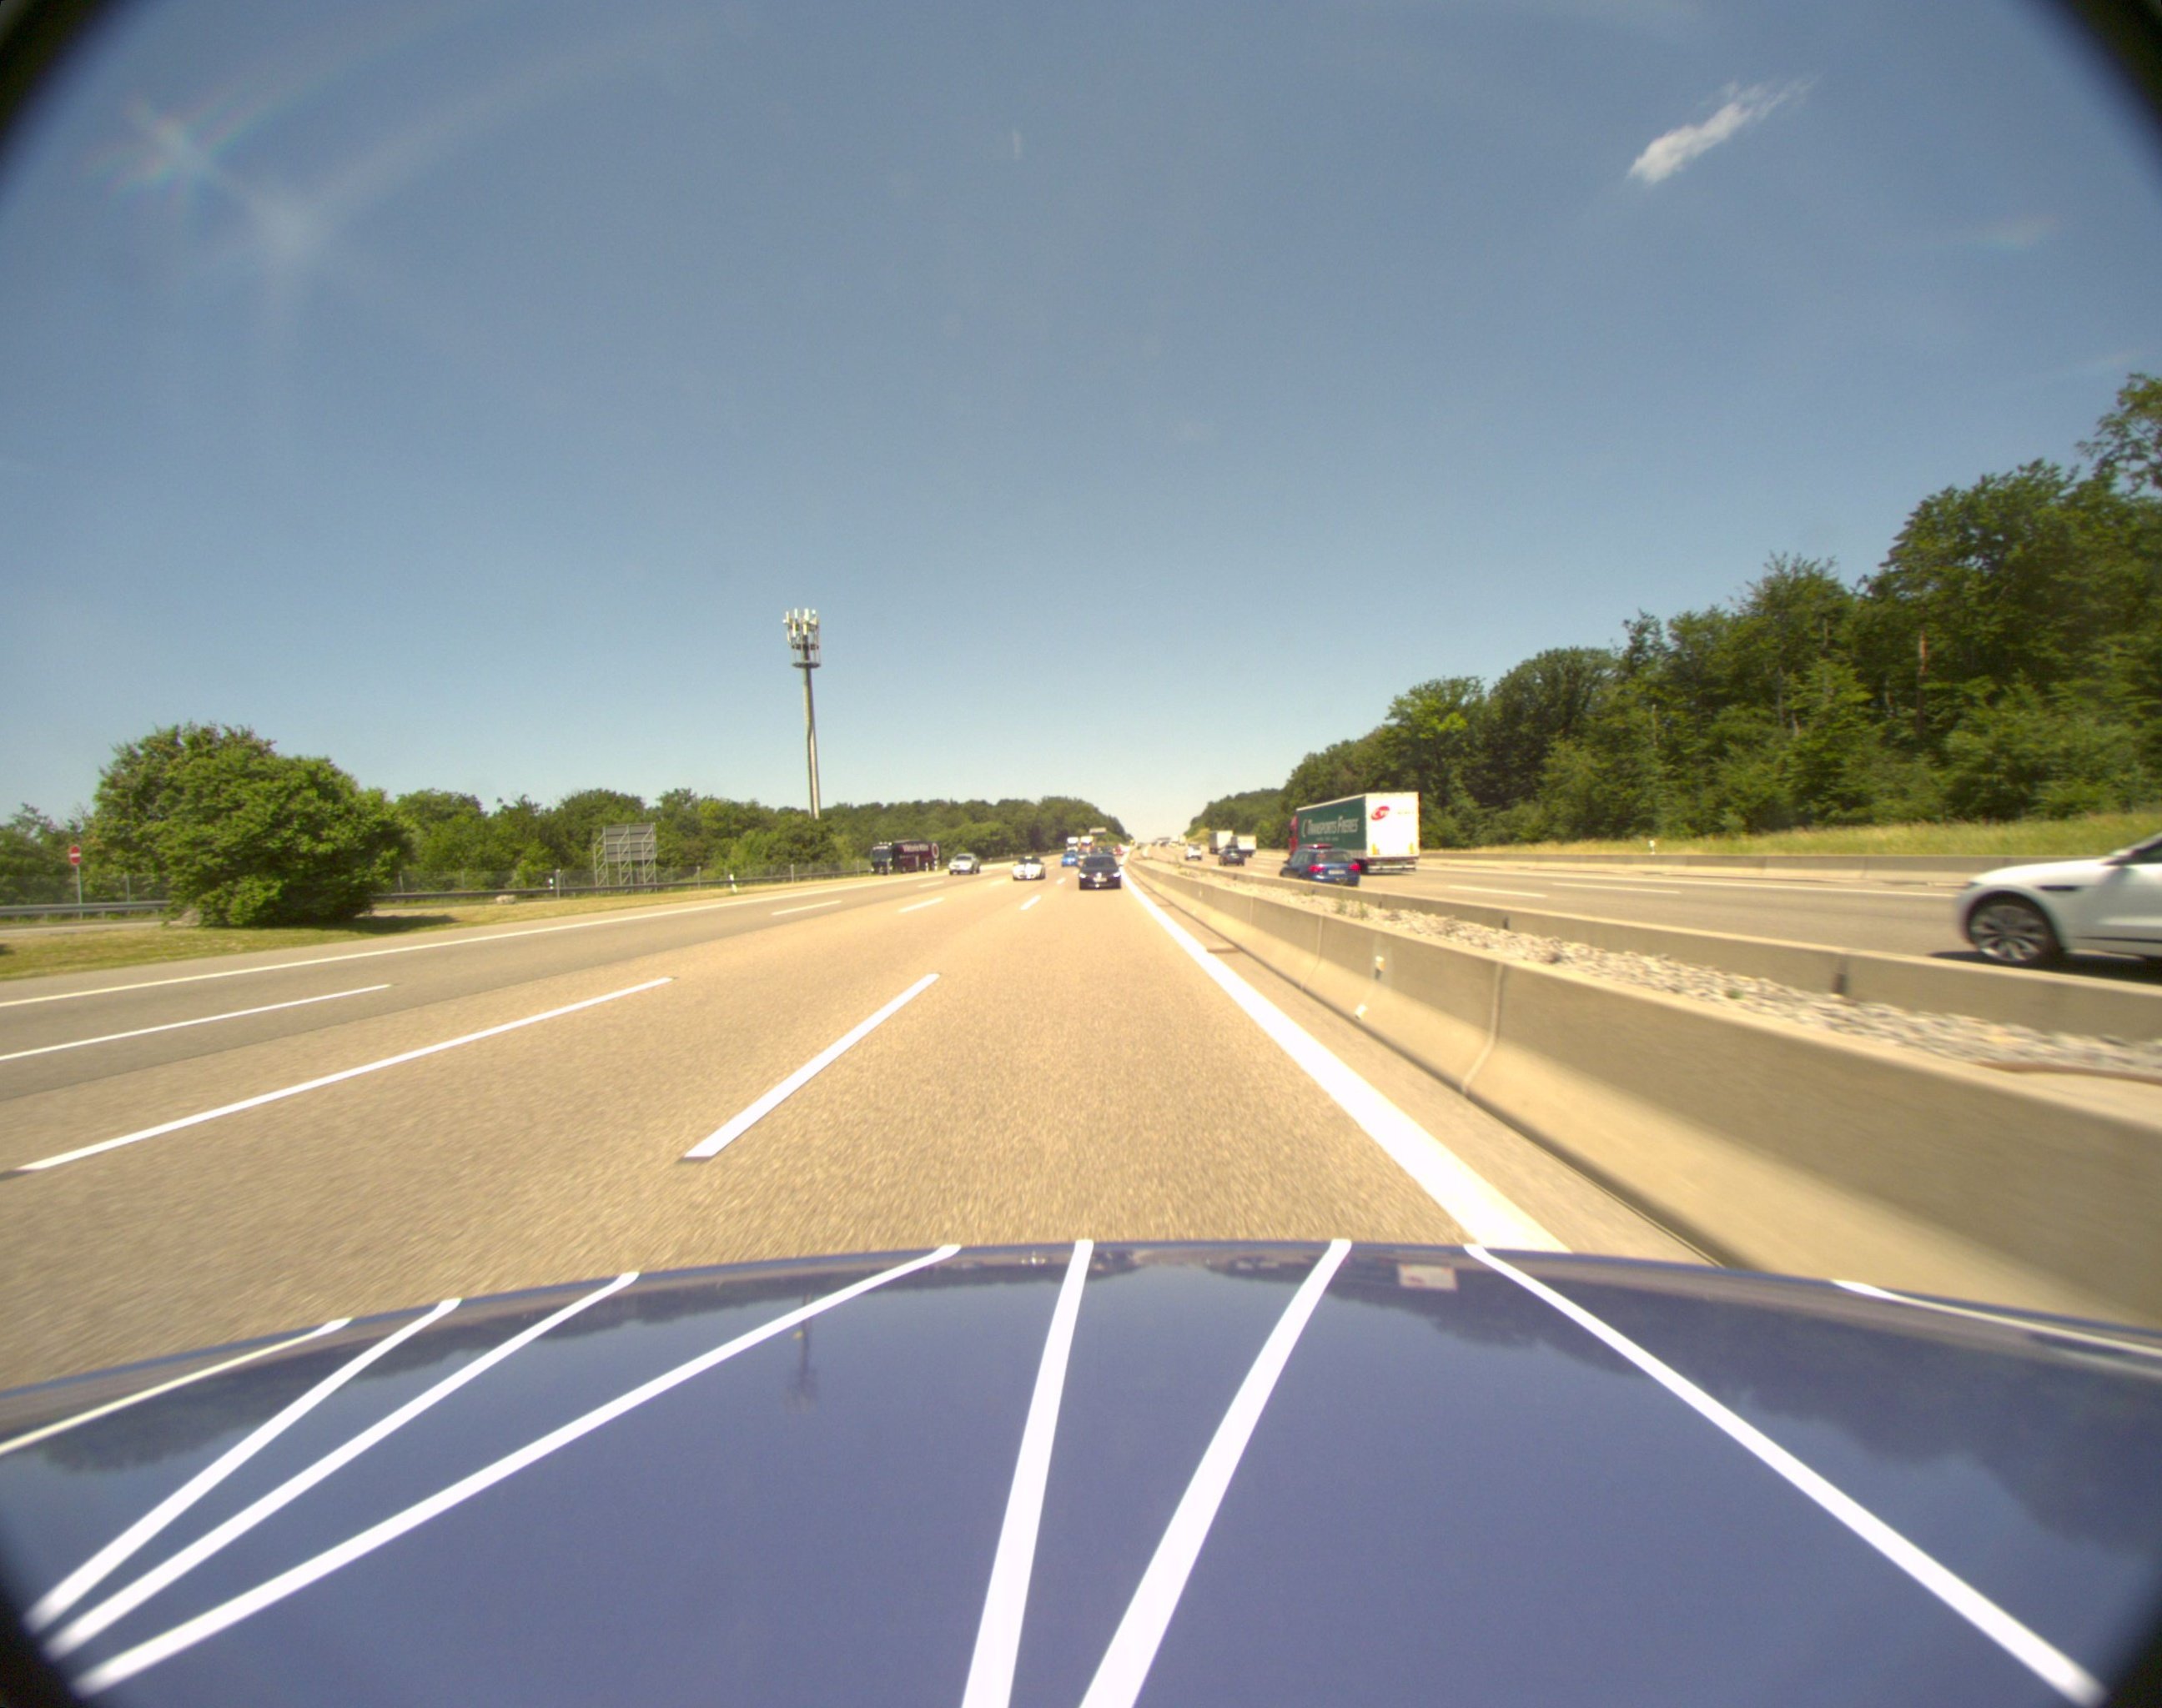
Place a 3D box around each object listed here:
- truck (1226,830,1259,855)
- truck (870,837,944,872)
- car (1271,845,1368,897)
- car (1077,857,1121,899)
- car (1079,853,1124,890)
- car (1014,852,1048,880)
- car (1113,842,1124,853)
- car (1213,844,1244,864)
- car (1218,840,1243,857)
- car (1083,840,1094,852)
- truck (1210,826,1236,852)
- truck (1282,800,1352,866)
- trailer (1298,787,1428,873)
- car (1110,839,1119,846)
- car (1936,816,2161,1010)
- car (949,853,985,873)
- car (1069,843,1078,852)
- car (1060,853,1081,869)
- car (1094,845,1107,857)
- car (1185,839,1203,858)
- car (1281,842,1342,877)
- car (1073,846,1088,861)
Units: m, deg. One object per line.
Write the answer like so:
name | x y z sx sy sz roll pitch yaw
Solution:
truck | 22.394 -1.556 105.859 2.764 3.286 10.097 -2 0 3
truck | -19.081 -0.055 84.631 2.749 3.551 12.335 -2 1 13
car | 7.724 0.492 25.120 1.754 1.510 4.826 -2 0 1
car | 0.649 0.819 27.320 1.447 1.375 3.050 -2 0 1
car | 0.948 0.725 32.765 1.760 1.430 4.001 -1 0 3
car | -2.989 0.695 46.045 1.730 1.521 3.741 -2 0 0
car | 7.374 -1.279 150.360 1.998 2.001 4.002 -3 -1 3
car | 12.576 -0.059 65.021 1.813 1.543 5.260 -2 1 2
car | 17.763 -0.688 90.373 2.081 1.954 5.024 -2 1 1
car | 1.693 -1.801 167.269 2.234 2.371 4.162 -2 1 1
truck | 24.432 -2.537 131.254 2.949 4.185 9.346 -2 1 2
truck | 15.666 -1.372 50.853 2.931 4.079 5.616 -2 1 1
trailer | 15.486 -1.235 43.123 2.944 4.076 12.153 -2 1 1
car | 10.090 -3.380 228.432 1.999 2.002 3.998 -3 1 -4
car | 10.851 0.528 6.396 1.823 1.792 4.891 -2 1 0
car | -9.182 0.676 61.495 1.998 1.521 4.001 -1 0 4
car | -1.764 -1.503 181.072 1.898 2.002 3.808 -2 1 4
car | -1.106 0.722 81.000 1.998 1.521 4.234 -2 1 1
car | 3.288 -0.563 128.305 1.999 1.848 3.999 -2 1 -2
car | 13.887 -0.648 93.267 1.861 2.180 4.067 -2 1 5
car | 11.664 0.256 38.764 1.802 1.630 4.544 -2 0 1
car | -0.027 -0.049 107.739 1.998 2.002 4.000 -2 1 1
